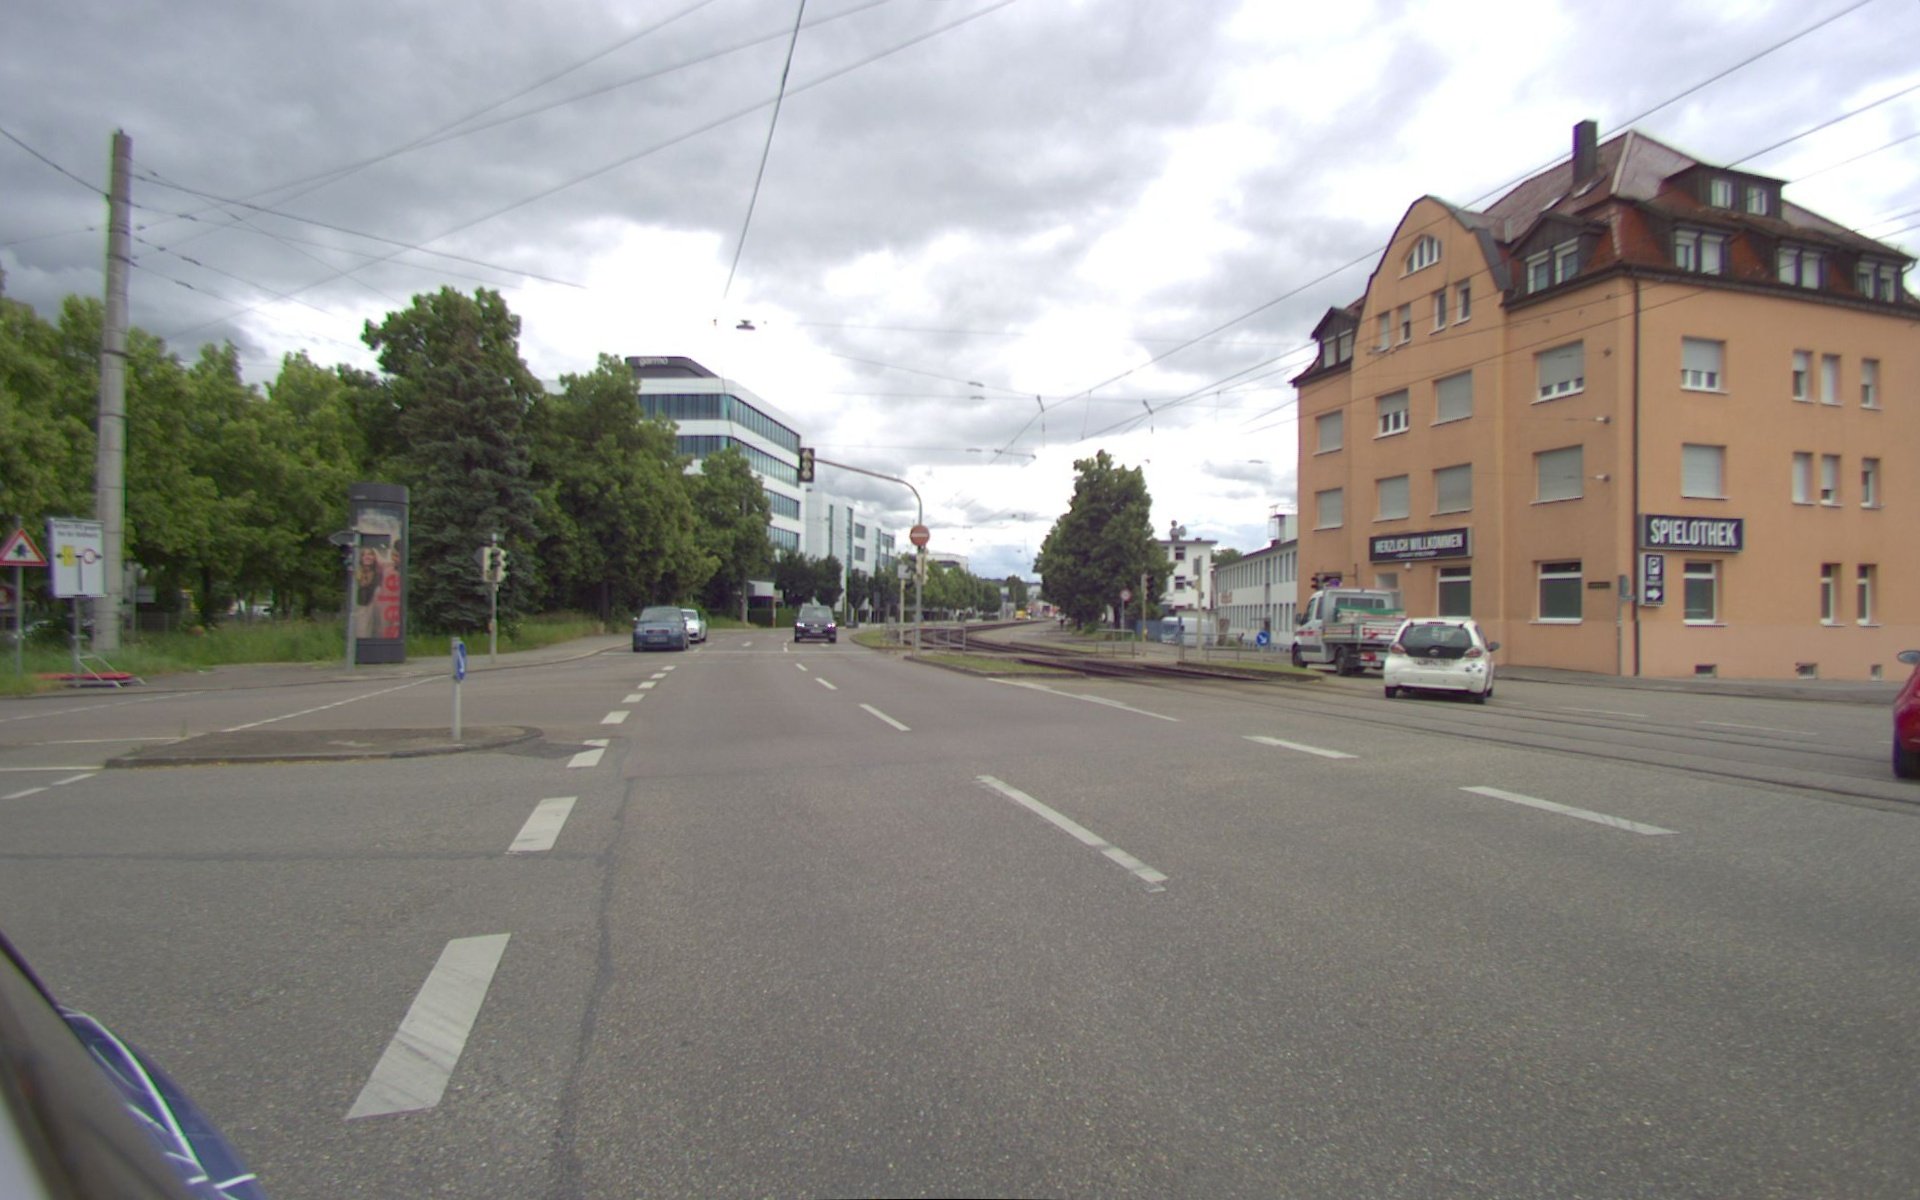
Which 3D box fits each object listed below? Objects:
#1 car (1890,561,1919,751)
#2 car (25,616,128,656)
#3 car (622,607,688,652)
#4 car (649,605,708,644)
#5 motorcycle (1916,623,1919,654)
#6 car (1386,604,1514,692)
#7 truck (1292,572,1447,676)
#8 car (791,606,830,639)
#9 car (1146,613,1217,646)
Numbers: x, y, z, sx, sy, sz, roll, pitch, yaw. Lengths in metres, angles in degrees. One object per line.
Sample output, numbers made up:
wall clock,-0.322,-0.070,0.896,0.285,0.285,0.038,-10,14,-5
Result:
car,9.795,0.415,8.958,3.937,1.536,1.706,-3,4,-39
car,-47.054,1.881,54.064,1.967,1.675,4.776,1,3,-11
car,-10.190,0.957,34.023,1.721,1.402,3.711,-1,0,-10
car,-11.374,0.956,41.119,1.722,1.437,4.172,-1,0,-8
motorcycle,31.749,1.311,32.833,0.526,0.991,1.694,2,3,26
car,8.931,0.859,18.336,1.595,1.431,3.334,-1,-3,35
truck,10.743,0.592,27.096,2.292,2.440,5.644,1,0,6
car,-6.467,0.947,43.956,1.603,1.342,3.179,-1,0,-7
car,15.611,1.998,71.006,6.207,2.117,1.751,-1,0,-45
